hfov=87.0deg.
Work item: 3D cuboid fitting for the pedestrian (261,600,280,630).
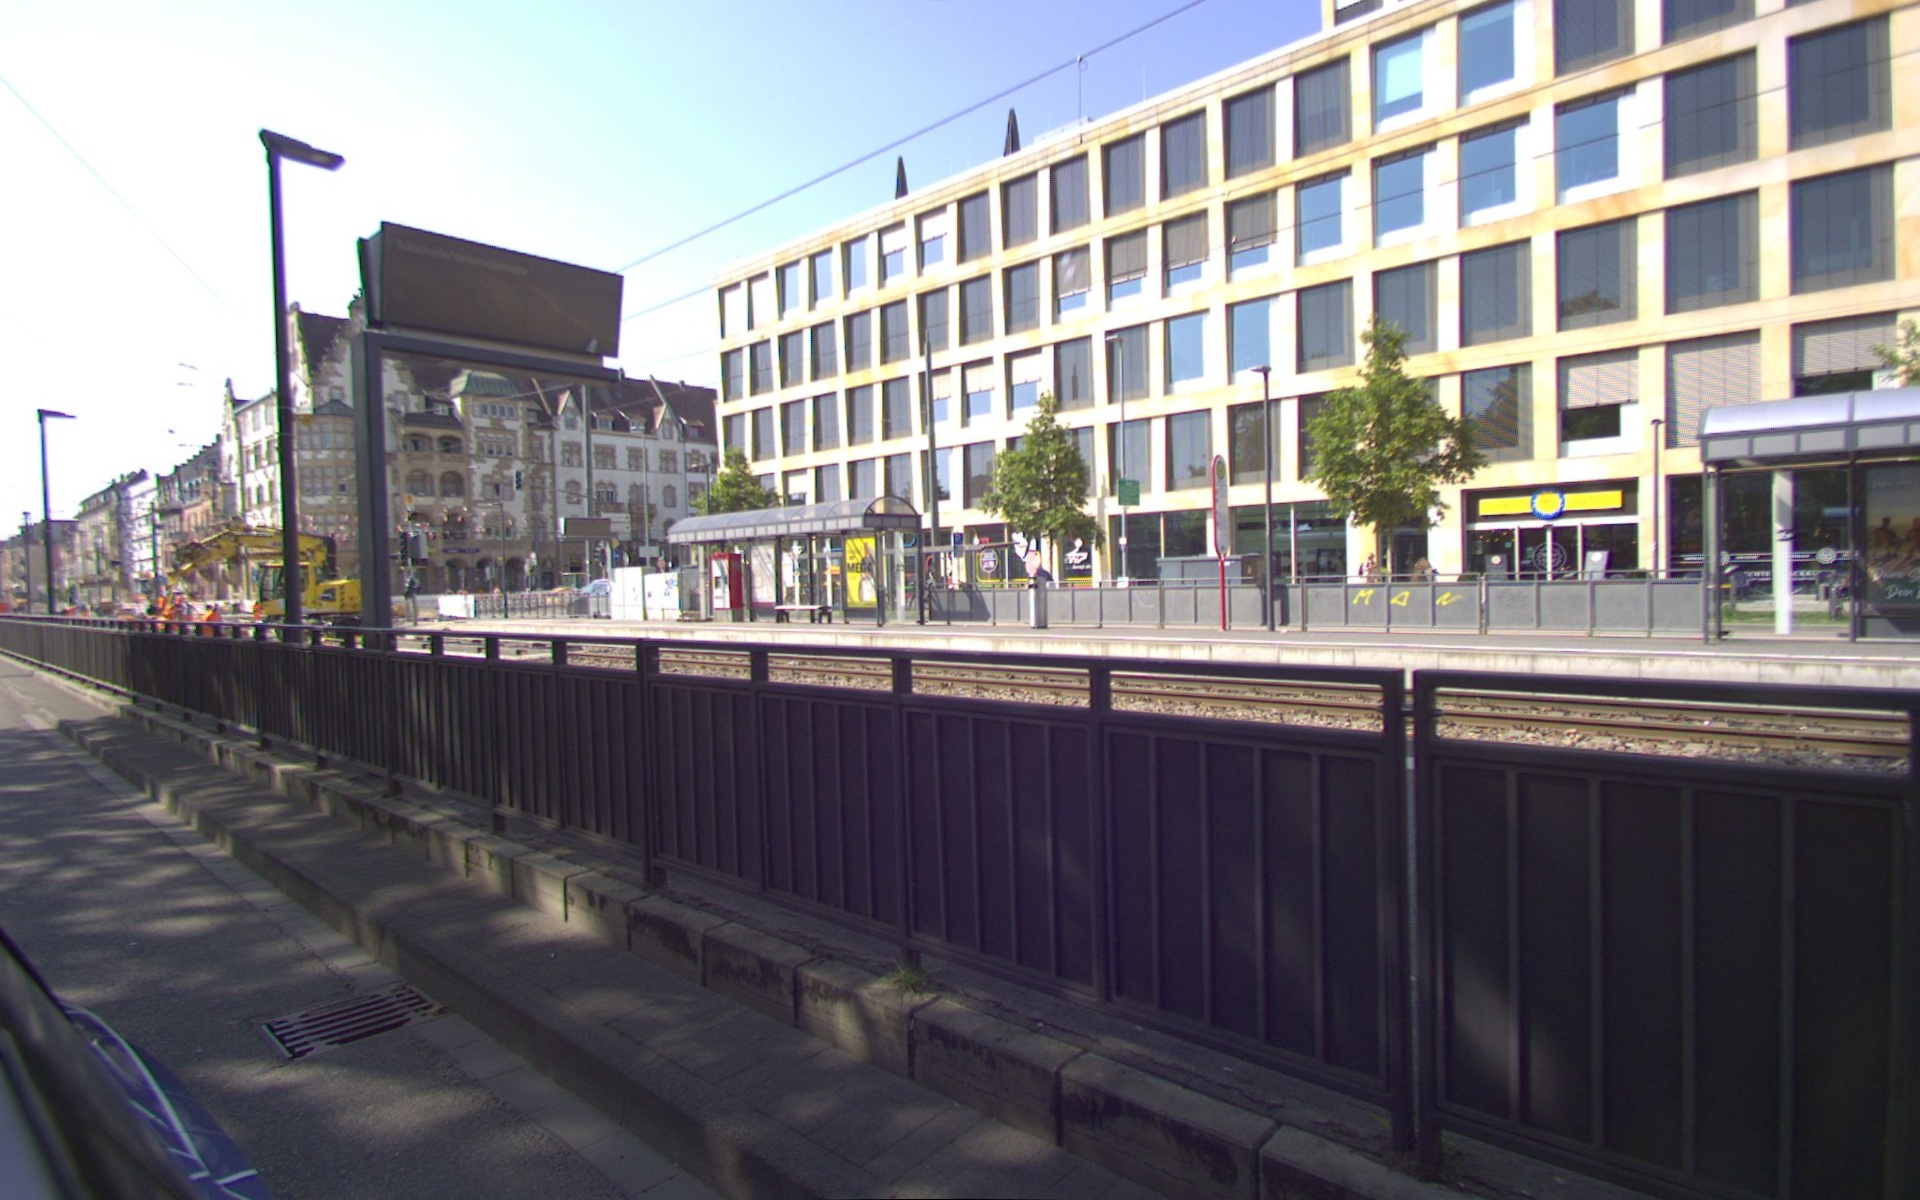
[{"bbox_3d":[-40.304,0.899,59.160,0.758,1.715,0.731,-1,1,41],"label":"pedestrian"}]

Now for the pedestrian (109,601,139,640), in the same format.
[{"bbox_3d":[-33.167,0.804,40.166,0.730,1.490,0.705,-2,0,-25],"label":"pedestrian"}]

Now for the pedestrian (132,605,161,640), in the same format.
[{"bbox_3d":[-31.624,0.864,39.355,0.691,1.345,0.840,-2,0,-27],"label":"pedestrian"}]

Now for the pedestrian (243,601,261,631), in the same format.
[{"bbox_3d":[-41.022,0.919,58.626,0.728,1.715,0.761,-2,1,-29],"label":"pedestrian"}]

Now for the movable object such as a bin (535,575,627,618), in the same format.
[{"bbox_3d":[-26.445,-0.301,70.819,2.491,2.810,5.443,1,3,43],"label":"movable object such as a bin"}]

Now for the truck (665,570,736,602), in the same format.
[{"bbox_3d":[-24.194,-1.347,94.706,2.689,2.836,5.961,-1,1,40],"label":"truck"}]

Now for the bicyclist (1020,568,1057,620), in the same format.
[{"bbox_3d":[2.167,-0.153,28.092,0.784,1.413,0.622,1,-1,42],"label":"bicyclist"}]

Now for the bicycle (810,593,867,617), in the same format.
[{"bbox_3d":[-5.285,0.218,44.220,1.020,0.975,2.405,-1,1,40],"label":"bicycle"}]

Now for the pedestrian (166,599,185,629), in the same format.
[{"bbox_3d":[-46.891,0.834,60.496,0.678,1.715,0.743,-1,1,42],"label":"pedestrian"}]

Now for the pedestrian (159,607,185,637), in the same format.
[{"bbox_3d":[-31.687,0.888,40.705,0.691,1.186,0.704,-2,0,-27],"label":"pedestrian"}]

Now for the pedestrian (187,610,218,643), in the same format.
[{"bbox_3d":[-27.383,0.945,36.596,0.692,1.163,0.589,-2,0,-8],"label":"pedestrian"}]

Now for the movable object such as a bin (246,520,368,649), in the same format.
[{"bbox_3d":[-24.839,-0.556,38.467,4.213,4.588,2.953,-1,1,45],"label":"movable object such as a bin"}]

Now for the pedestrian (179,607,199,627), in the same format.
[{"bbox_3d":[-46.954,1.028,61.631,0.865,1.192,0.723,1,-1,35],"label":"pedestrian"}]

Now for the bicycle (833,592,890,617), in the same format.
[{"bbox_3d":[-4.192,0.186,43.287,0.944,0.975,2.405,-1,1,40],"label":"bicycle"}]

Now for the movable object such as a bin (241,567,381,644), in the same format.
[{"bbox_3d":[-29.365,0.229,45.921,3.550,3.247,4.088,-2,0,27],"label":"movable object such as a bin"}]

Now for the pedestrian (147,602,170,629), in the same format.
[{"bbox_3d":[-47.894,0.903,60.456,0.727,1.568,0.753,-1,0,0],"label":"pedestrian"}]

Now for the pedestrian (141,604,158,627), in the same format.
[{"bbox_3d":[-46.574,0.880,58.174,0.547,1.256,0.669,-1,1,41],"label":"pedestrian"}]

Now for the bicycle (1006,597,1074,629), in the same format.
[{"bbox_3d":[2.210,0.346,28.036,1.897,0.828,0.622,1,-1,42],"label":"bicycle"}]

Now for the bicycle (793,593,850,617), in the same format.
[{"bbox_3d":[-6.158,0.203,45.099,1.020,0.975,2.405,-1,1,40],"label":"bicycle"}]

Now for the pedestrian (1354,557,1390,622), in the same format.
[{"bbox_3d":[13.180,-0.343,32.370,0.758,2.029,0.822,-2,0,-44],"label":"pedestrian"}]

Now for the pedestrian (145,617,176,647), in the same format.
[{"bbox_3d":[-27.638,1.099,34.998,0.882,0.962,0.693,-1,1,43],"label":"pedestrian"}]
